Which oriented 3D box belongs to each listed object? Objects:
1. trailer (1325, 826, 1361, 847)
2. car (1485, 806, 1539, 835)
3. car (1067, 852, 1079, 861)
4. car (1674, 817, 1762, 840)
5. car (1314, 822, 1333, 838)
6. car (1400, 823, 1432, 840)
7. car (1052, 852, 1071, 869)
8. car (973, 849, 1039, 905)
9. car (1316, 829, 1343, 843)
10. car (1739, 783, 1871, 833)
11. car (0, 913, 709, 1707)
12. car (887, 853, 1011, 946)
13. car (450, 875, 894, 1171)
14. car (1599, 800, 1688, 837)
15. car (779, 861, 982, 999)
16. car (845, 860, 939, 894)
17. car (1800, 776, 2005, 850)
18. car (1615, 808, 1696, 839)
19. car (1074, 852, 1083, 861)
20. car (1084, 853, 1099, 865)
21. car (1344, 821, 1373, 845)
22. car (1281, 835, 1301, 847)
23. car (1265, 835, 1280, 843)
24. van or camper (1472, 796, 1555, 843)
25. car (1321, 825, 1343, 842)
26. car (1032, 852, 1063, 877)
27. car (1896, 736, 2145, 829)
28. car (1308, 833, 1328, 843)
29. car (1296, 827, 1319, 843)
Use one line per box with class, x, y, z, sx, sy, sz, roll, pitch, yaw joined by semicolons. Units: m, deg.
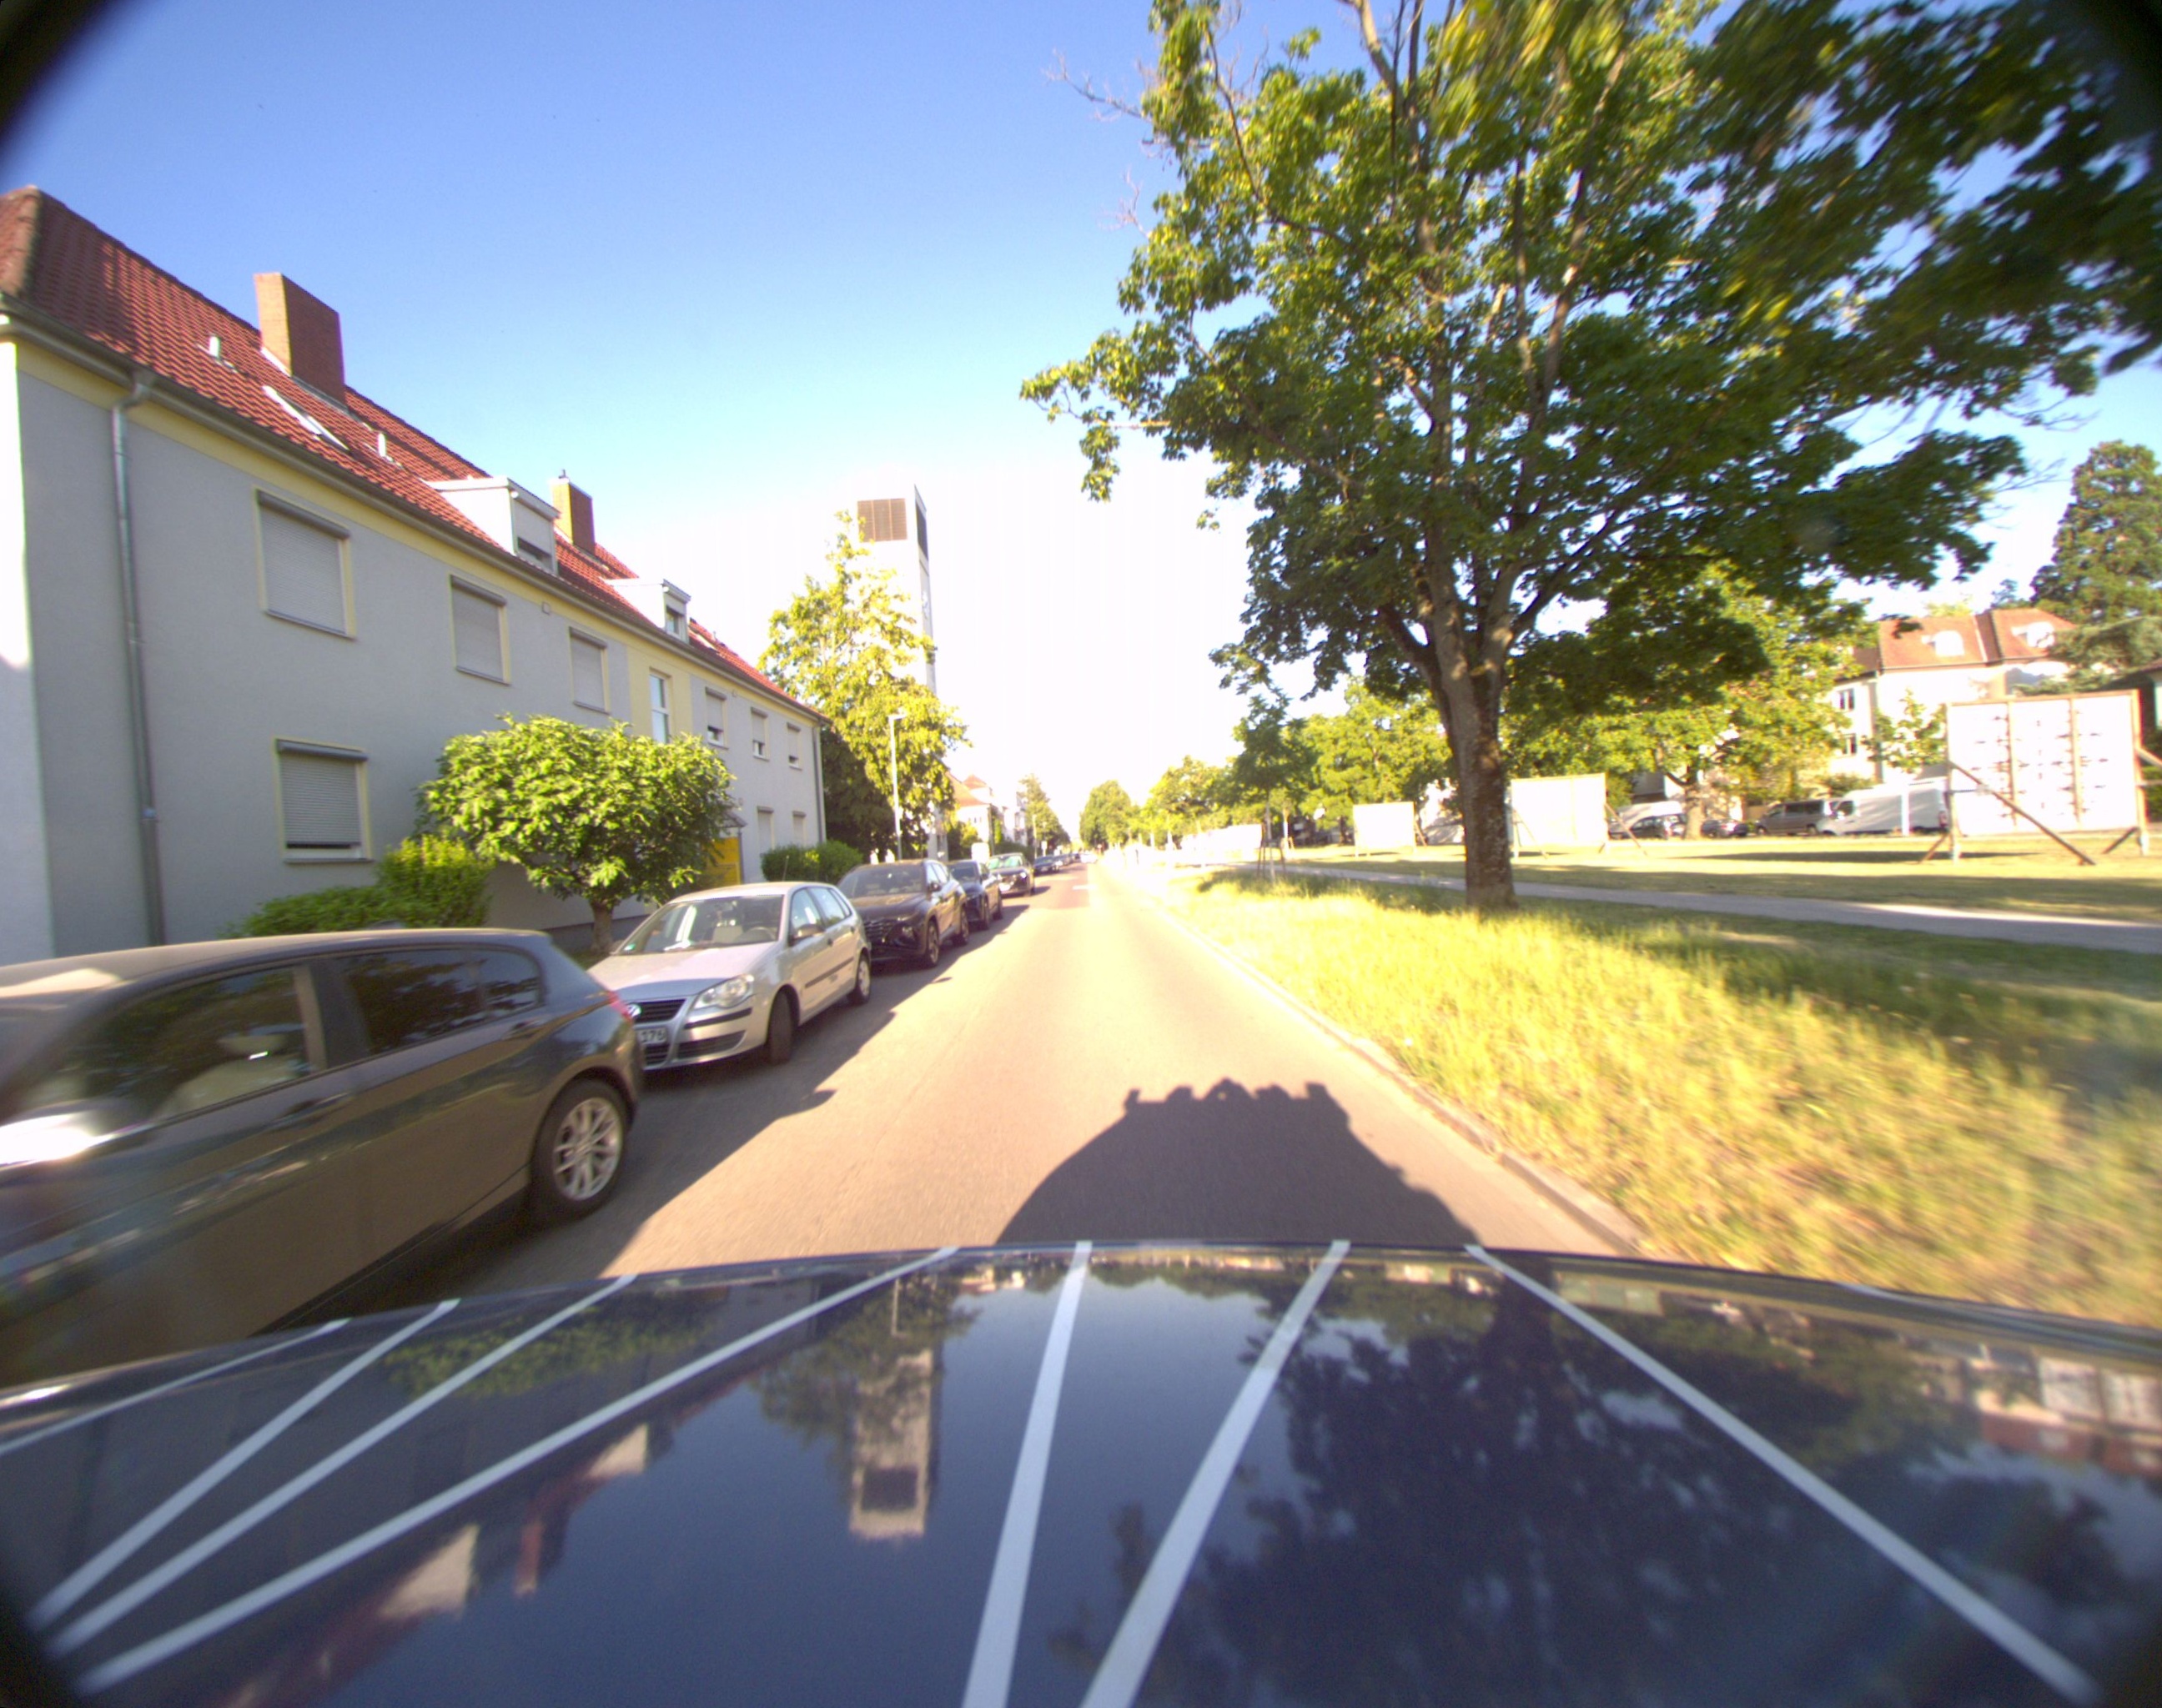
trailer;34.822;-2.342;101.164;2.479;2.644;6.635;0;1;0
car;34.380;-2.635;60.690;1.998;2.002;4.000;-4;0;1
car;-1.624;0.501;155.232;2.111;1.396;4.132;-9;0;1
car;40.471;-1.602;48.449;1.998;1.395;4.562;0;1;4
car;40.958;-4.034;128.450;1.998;2.527;3.999;-3;2;1
car;40.778;-2.723;92.607;1.894;1.901;4.714;-4;0;1
car;-2.253;0.773;90.378;1.999;1.588;4.885;-8;1;0
car;-2.764;0.798;29.195;1.837;1.722;5.031;-6;1;0
car;34.993;-2.505;107.002;1.999;1.632;4.950;-5;1;-1
car;40.182;-2.477;42.416;2.141;2.589;5.324;0;1;-1
car;-3.300;1.166;2.151;1.998;1.454;4.562;-5;0;2
car;-2.957;0.943;18.061;1.938;1.710;4.621;-6;0;0
car;-3.198;1.170;7.098;1.732;1.539;4.206;-8;1;-1
car;40.820;-2.521;55.363;1.998;2.583;6.089;0;1;1
car;-2.984;1.033;12.537;1.859;1.647;4.820;-5;0;1
car;-10.884;1.312;44.003;4.859;1.478;2.001;-4;4;0
car;34.128;-1.615;31.946;2.266;2.810;5.870;0;1;1
car;33.925;-1.767;45.020;1.417;1.555;4.309;-4;0;0
car;-0.669;0.706;192.714;1.998;2.179;4.001;-3;0;1
car;1.380;0.685;103.093;1.998;1.483;4.000;-3;0;0
car;40.772;-3.052;111.686;1.998;3.230;6.075;-3;0;1
car;35.282;-2.136;127.908;1.999;1.718;4.344;-3;0;0
car;41.477;-3.301;164.480;1.999;1.490;3.999;-3;0;-4
van or camper;34.380;-2.635;60.690;2.648;3.243;6.905;-4;0;2
car;40.852;-3.311;123.630;1.950;2.625;5.043;0;1;1
car;-2.498;0.770;58.096;1.827;1.552;4.622;-9;0;1
car;39.900;-2.867;32.727;2.309;3.539;6.764;0;1;1
car;34.955;-2.376;112.263;1.857;1.308;4.042;-4;1;4
car;35.038;-2.906;117.857;1.999;2.161;4.571;-3;0;-2
